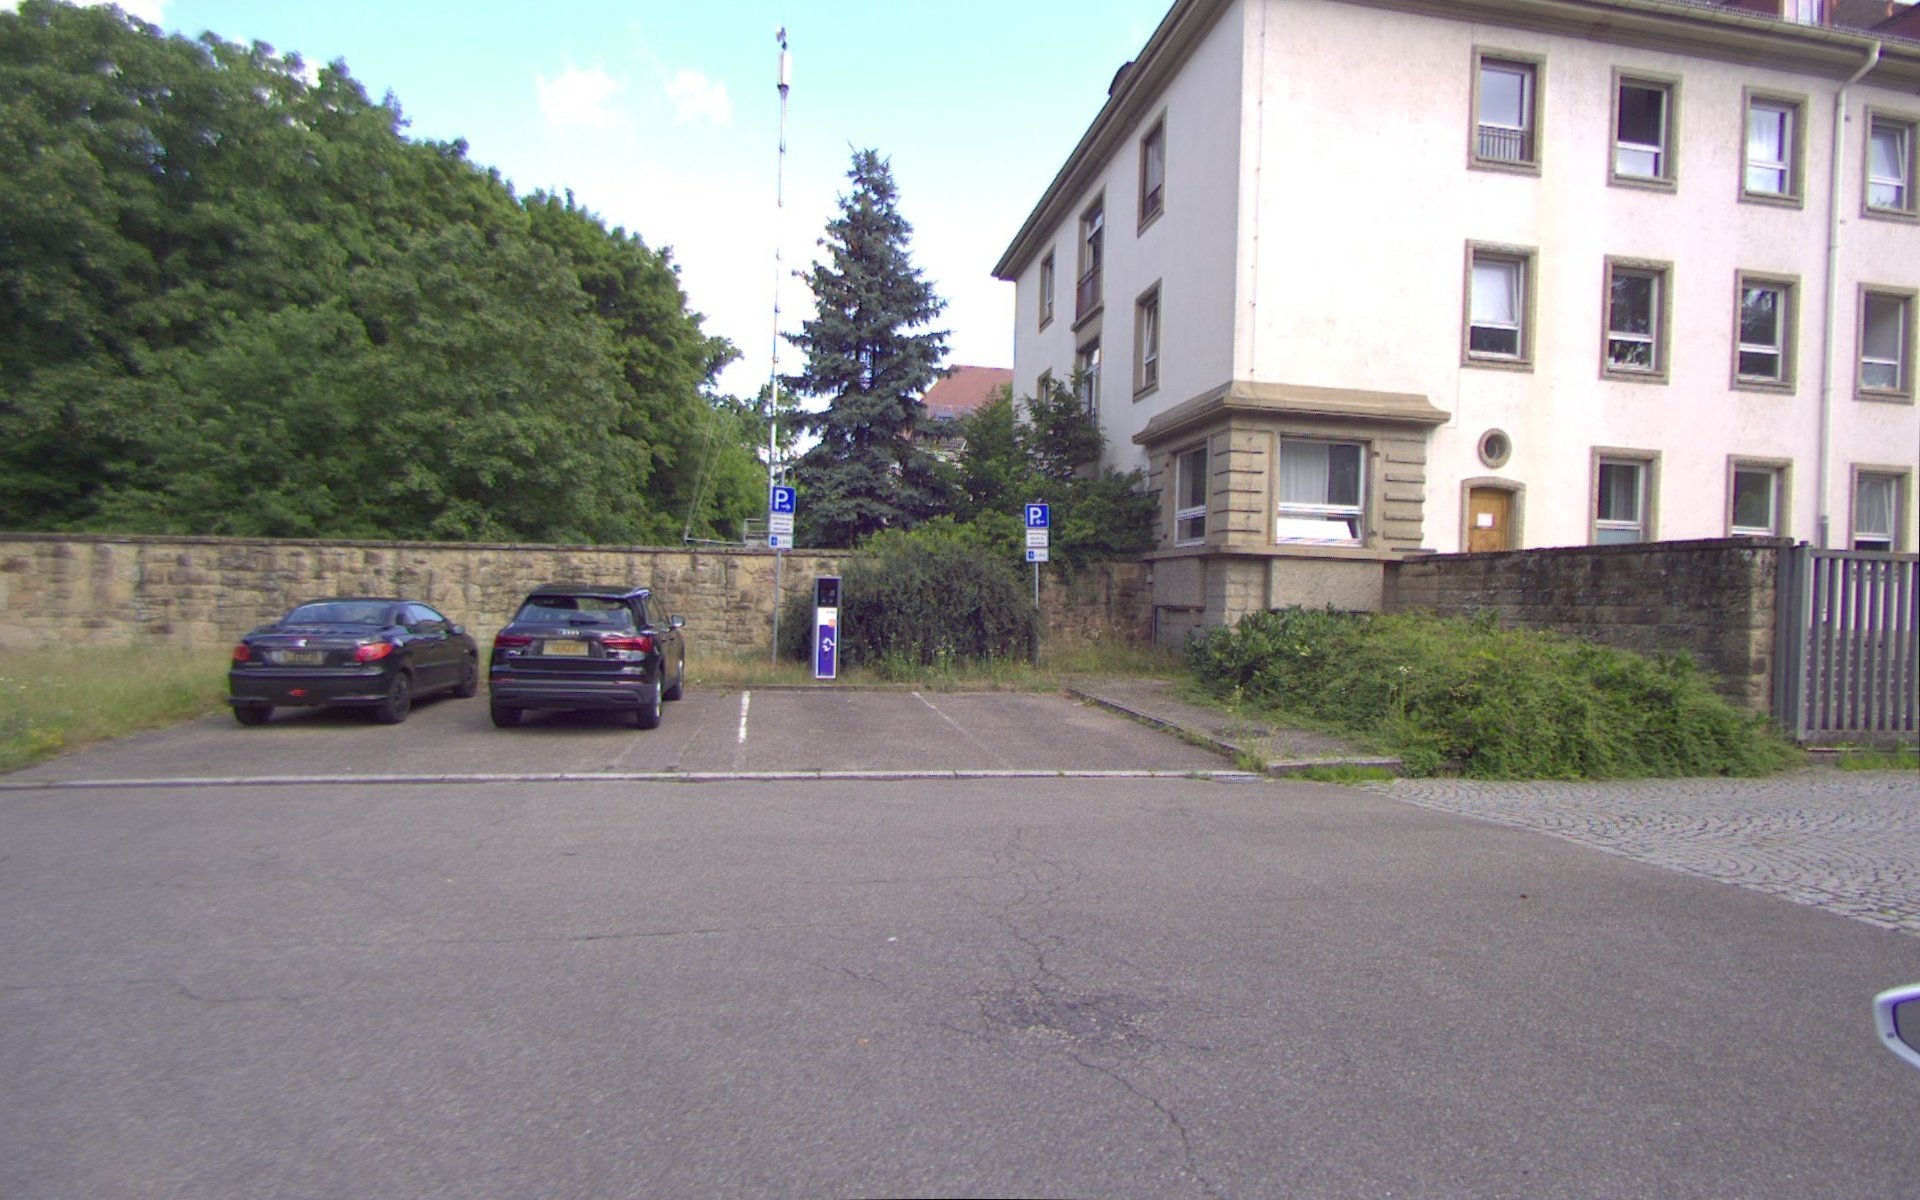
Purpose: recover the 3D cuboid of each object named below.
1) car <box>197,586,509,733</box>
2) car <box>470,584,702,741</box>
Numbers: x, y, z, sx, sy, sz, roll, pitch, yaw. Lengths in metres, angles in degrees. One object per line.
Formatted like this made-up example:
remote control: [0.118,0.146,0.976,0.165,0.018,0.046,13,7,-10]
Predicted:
car: [-7.198,0.605,12.445,1.845,1.461,3.994,1,2,-8]
car: [-4.390,0.626,12.453,1.865,1.567,3.994,1,2,-8]
